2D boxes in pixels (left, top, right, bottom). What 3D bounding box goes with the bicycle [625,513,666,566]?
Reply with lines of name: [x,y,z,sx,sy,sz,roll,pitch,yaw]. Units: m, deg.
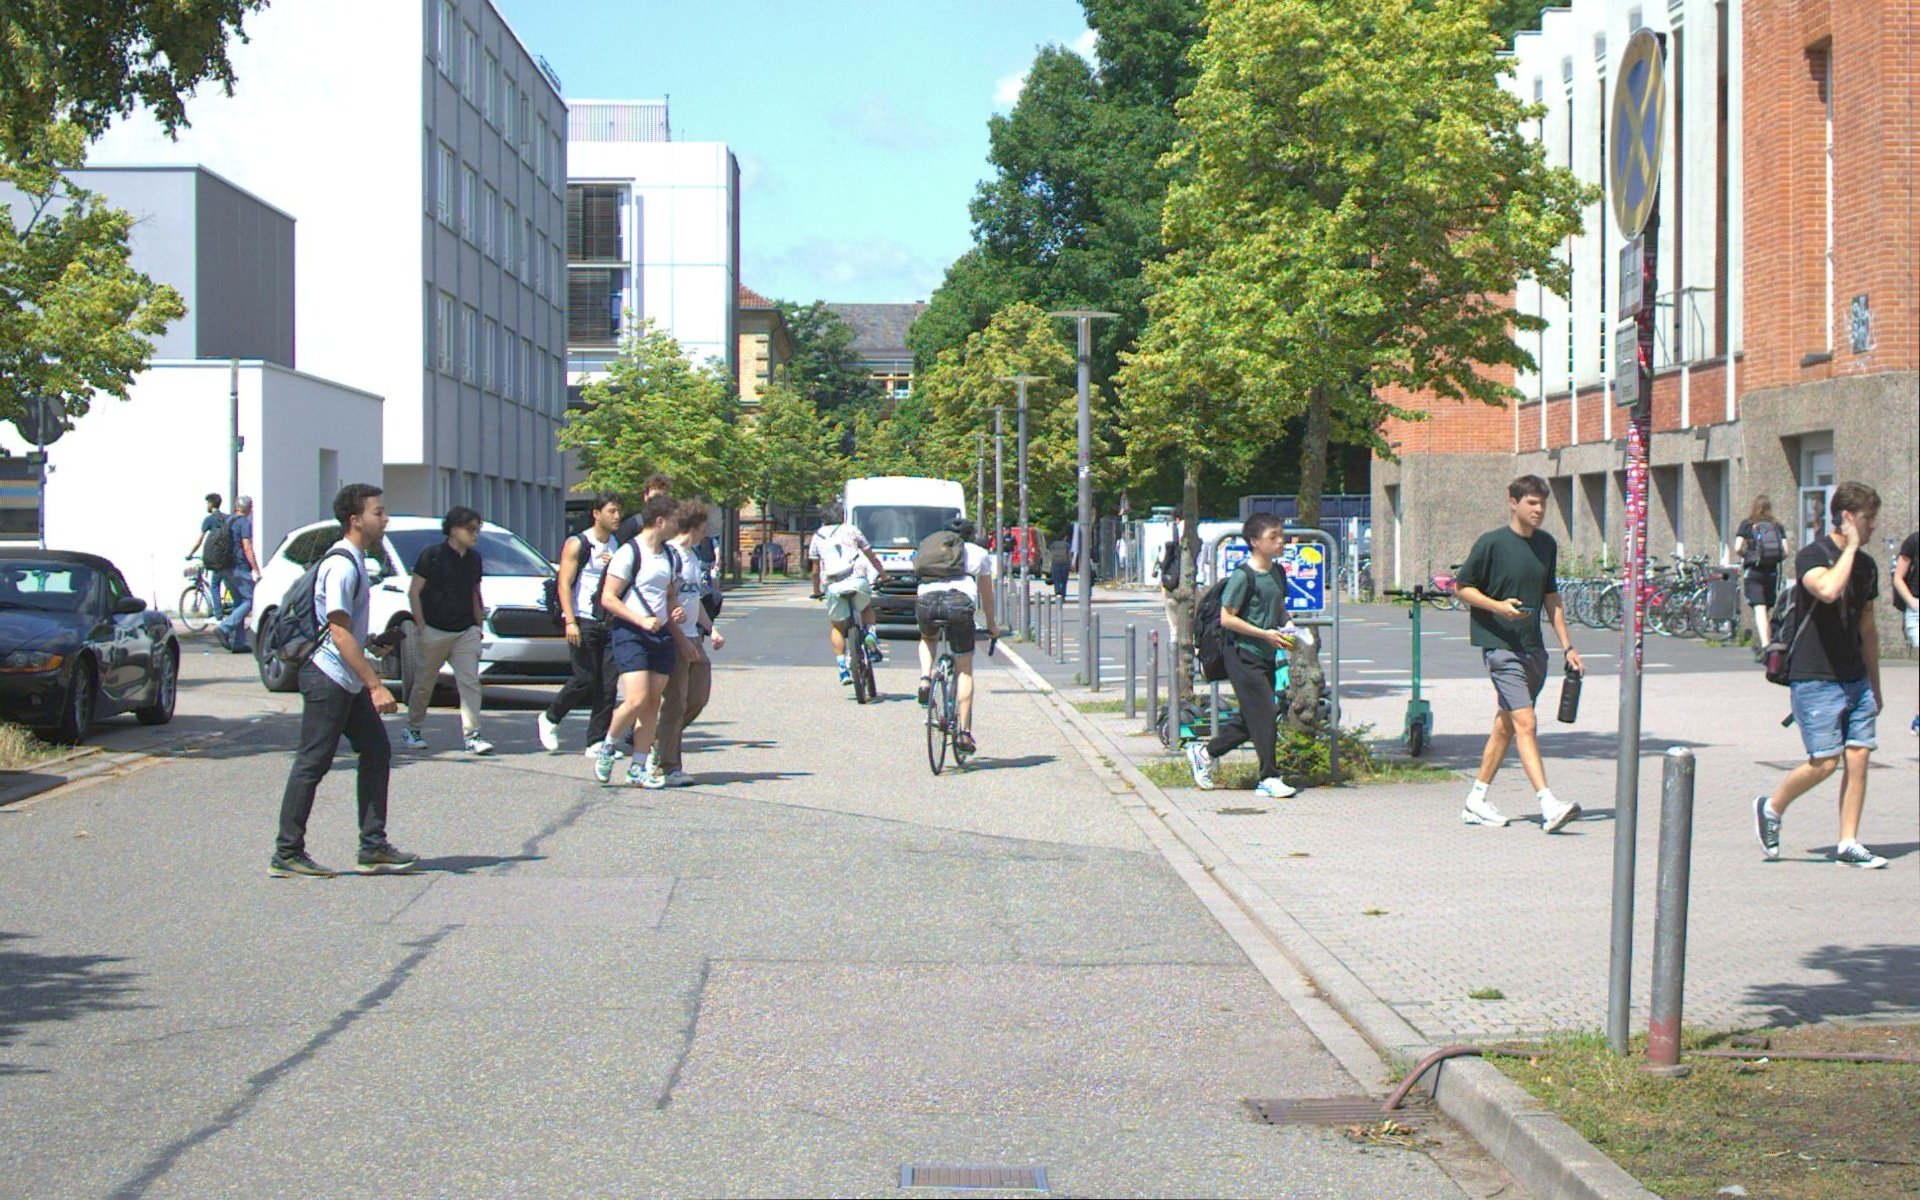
bicycle: [-5.769,-1.115,63.198,0.677,0.961,2.003,0,1,-3]

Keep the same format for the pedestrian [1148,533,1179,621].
pedestrian: [4.312,-0.497,72.902,0.576,1.853,0.570,0,1,-3]

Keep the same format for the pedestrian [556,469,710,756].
pedestrian: [-2.300,0.072,24.210,0.827,1.973,0.691,2,2,21]

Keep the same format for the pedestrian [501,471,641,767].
pedestrian: [-2.654,0.127,23.422,0.616,1.973,0.829,-1,0,-32]

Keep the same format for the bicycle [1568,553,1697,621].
bicycle: [10.121,-0.197,51.801,1.809,0.981,0.560,-1,1,-1]

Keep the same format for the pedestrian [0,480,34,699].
pedestrian: [-8.912,-0.112,30.278,1.015,1.897,1.178,3,-1,-37]

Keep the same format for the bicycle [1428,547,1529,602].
bicycle: [9.858,-0.488,65.431,1.809,0.981,0.560,-1,1,-1]

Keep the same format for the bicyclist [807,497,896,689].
bicyclist: [-1.016,-0.073,32.010,0.771,1.750,0.848,-1,1,-5]

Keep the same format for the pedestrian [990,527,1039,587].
pedestrian: [1.894,-1.504,119.116,1.499,1.989,1.646,-3,2,-3]

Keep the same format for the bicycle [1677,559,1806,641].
bicycle: [10.121,-0.008,44.541,1.535,1.029,0.560,-1,1,-1]

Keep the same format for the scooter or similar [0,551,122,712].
scooter or similar: [-7.519,0.249,28.738,0.504,1.295,1.215,-1,2,11]

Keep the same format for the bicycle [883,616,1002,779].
bicycle: [-0.102,0.642,23.346,0.706,0.990,1.910,2,1,2]

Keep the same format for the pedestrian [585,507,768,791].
pedestrian: [-1.776,0.290,21.531,0.908,1.733,0.677,1,1,37]

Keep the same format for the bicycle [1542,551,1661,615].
bicycle: [10.415,-0.276,55.843,1.809,0.981,0.560,-1,1,-1]

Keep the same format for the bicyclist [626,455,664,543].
bicyclist: [-5.792,-1.844,63.227,0.643,1.596,0.909,-1,1,-3]

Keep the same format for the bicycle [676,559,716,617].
bicycle: [-4.988,-0.216,65.022,0.677,0.962,2.003,2,-3,-4]

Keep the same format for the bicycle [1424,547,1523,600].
bicycle: [9.909,-0.510,66.395,1.809,0.981,0.560,-1,1,-1]

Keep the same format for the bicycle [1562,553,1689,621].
bicycle: [10.137,-0.207,52.406,1.809,0.981,0.560,-1,1,-1]

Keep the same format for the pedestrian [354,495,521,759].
pedestrian: [-3.602,0.163,23.721,0.802,1.766,0.853,2,2,21]

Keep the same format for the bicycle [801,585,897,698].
bicycle: [-1.051,0.390,32.094,0.808,0.999,2.124,-1,-1,-4]

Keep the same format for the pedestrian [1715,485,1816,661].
pedestrian: [8.660,-0.297,36.989,0.790,1.853,1.116,0,1,-2]

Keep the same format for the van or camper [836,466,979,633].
van or camper: [-0.761,-0.760,53.017,1.993,2.437,4.569,-1,0,2]

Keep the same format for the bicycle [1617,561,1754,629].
bicycle: [10.278,-0.069,48.737,1.809,0.909,0.560,-1,1,-1]

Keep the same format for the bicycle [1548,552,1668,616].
bicycle: [10.412,-0.259,55.255,1.809,0.981,0.560,-1,1,-1]

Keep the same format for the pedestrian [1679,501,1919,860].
pedestrian: [3.921,0.346,15.870,0.848,1.589,0.830,-3,2,-44]

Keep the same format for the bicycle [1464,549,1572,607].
bicycle: [9.983,-0.400,61.561,1.809,0.981,0.560,-1,1,-1]

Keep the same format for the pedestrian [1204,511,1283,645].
pedestrian: [3.709,-0.294,45.063,0.853,1.727,1.160,0,1,-5]

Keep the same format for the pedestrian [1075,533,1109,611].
pedestrian: [3.184,-0.682,83.082,0.790,1.853,1.026,0,1,0]

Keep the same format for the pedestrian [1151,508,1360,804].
pedestrian: [1.768,0.320,20.628,0.702,1.714,0.993,-3,2,-43]

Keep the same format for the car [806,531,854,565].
car: [-5.879,-2.368,155.734,1.795,1.525,4.000,0,1,3]

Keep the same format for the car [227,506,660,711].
car: [-4.691,0.036,30.686,1.918,1.613,4.520,3,0,-35]

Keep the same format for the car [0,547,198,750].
car: [-6.664,0.289,24.381,1.645,1.296,3.928,0,1,0]

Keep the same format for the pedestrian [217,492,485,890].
pedestrian: [-2.694,0.388,15.296,1.105,1.710,0.710,1,1,-7]

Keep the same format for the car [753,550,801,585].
car: [-8.296,-1.498,156.234,1.795,1.525,4.000,0,1,3]

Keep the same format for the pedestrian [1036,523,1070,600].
pedestrian: [2.261,-0.950,83.557,0.790,1.853,1.243,0,1,0]

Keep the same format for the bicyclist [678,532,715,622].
bicyclist: [-4.975,-0.445,64.943,0.667,1.676,0.993,-1,1,-4]

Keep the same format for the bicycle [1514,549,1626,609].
bicycle: [10.472,-0.357,59.031,1.809,0.981,0.560,-1,1,-1]

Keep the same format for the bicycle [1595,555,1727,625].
bicycle: [10.291,-0.153,50.500,1.809,0.981,0.560,-1,1,-1]

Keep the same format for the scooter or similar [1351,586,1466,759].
scooter or similar: [3.151,0.491,24.074,0.649,1.156,1.264,0,1,14]

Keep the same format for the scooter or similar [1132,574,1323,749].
scooter or similar: [1.994,0.441,25.613,1.263,1.260,0.649,0,1,31]

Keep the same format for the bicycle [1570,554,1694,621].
bicycle: [10.501,-0.198,53.750,1.809,0.981,0.560,-1,1,-1]

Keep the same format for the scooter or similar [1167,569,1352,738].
scooter or similar: [2.301,0.398,26.429,1.263,1.260,0.638,0,1,31]

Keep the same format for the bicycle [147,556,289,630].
bicycle: [-10.334,-0.105,47.836,2.122,0.999,0.809,1,0,41]

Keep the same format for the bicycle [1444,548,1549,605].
bicycle: [9.842,-0.433,63.094,1.809,0.981,0.560,-1,1,-1]

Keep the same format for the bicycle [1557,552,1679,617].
bicycle: [10.460,-0.248,54.654,1.809,0.981,0.560,-1,1,-1]

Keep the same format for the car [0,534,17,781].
car: [-6.270,0.346,18.039,1.662,1.407,3.807,1,1,-1]

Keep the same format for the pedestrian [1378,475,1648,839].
pedestrian: [2.924,0.283,18.219,0.852,1.853,1.116,-1,0,-39]

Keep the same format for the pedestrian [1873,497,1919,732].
pedestrian: [6.826,0.090,24.342,0.501,1.625,0.571,-1,3,-10]

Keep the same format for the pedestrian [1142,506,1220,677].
pedestrian: [2.258,-0.096,35.155,0.702,1.688,0.962,-1,3,-1]

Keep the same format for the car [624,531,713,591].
car: [-7.578,-1.025,89.768,1.795,1.525,4.000,0,1,3]

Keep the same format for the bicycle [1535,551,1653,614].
bicycle: [10.416,-0.289,56.484,1.809,0.981,0.560,-1,1,-1]

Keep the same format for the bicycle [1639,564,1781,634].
bicycle: [10.317,-0.018,47.333,1.809,0.909,0.560,-1,1,-1]

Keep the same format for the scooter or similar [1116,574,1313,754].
scooter or similar: [1.838,0.447,24.837,1.263,1.260,0.649,0,1,31]

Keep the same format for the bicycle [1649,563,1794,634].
bicycle: [10.288,-0.019,46.477,1.809,0.909,0.560,-1,1,-1]

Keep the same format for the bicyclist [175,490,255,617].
bicyclist: [-10.367,-0.640,47.864,0.692,1.750,0.809,1,0,41]

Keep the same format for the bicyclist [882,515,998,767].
bicyclist: [-0.127,0.259,23.221,0.717,1.656,1.095,0,1,3]

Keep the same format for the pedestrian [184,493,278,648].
pedestrian: [-8.501,-0.339,40.091,0.982,1.779,0.669,0,0,-5]

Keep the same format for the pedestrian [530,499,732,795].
pedestrian: [-1.991,0.265,20.799,0.982,1.733,0.699,2,2,35]
